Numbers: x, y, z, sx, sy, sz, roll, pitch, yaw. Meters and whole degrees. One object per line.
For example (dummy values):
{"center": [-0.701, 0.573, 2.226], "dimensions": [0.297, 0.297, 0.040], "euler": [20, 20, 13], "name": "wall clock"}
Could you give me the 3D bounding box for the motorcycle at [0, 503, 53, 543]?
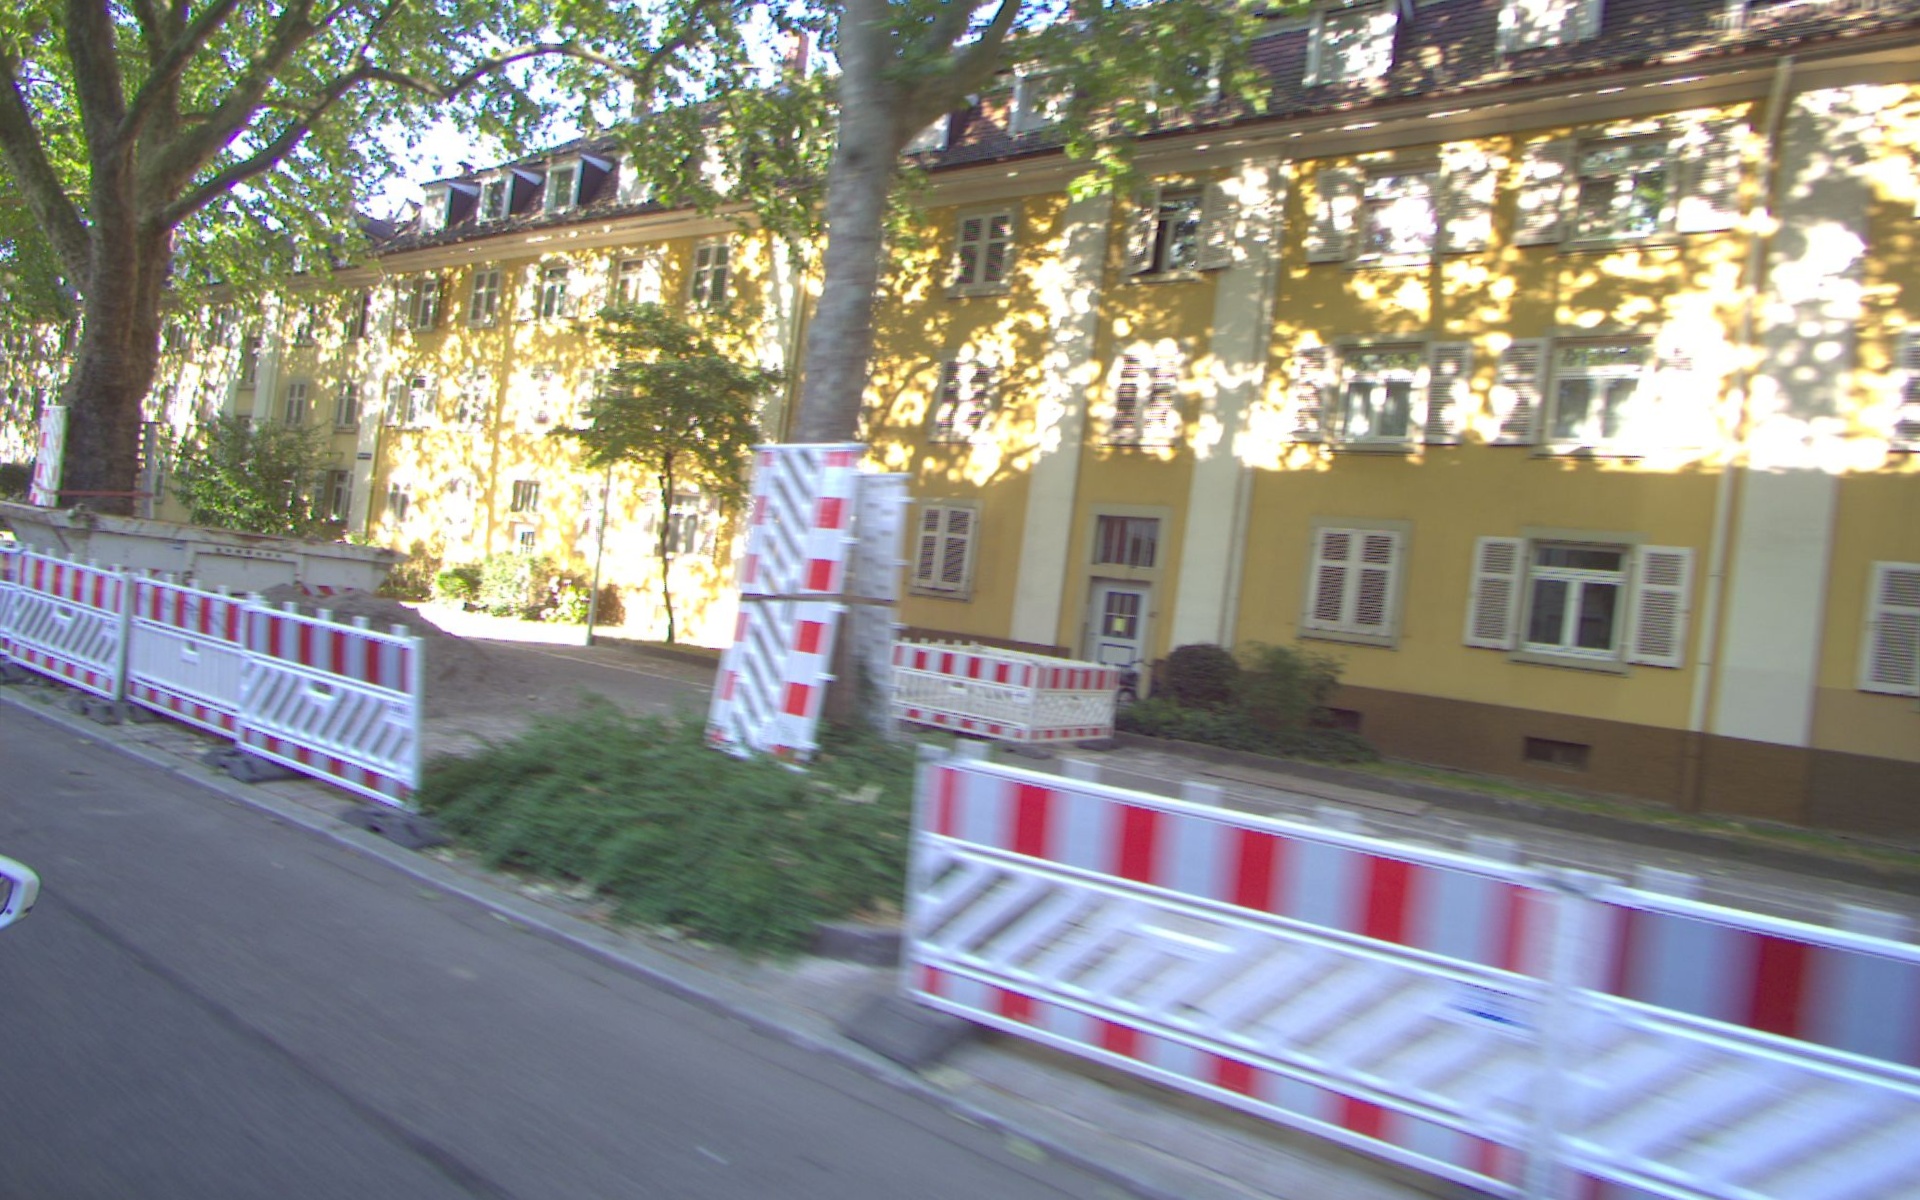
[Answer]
{"center": [-32.531, -2.686, 35.044], "dimensions": [2.226, 1.167, 0.716], "euler": [7, 0, 31], "name": "motorcycle"}
